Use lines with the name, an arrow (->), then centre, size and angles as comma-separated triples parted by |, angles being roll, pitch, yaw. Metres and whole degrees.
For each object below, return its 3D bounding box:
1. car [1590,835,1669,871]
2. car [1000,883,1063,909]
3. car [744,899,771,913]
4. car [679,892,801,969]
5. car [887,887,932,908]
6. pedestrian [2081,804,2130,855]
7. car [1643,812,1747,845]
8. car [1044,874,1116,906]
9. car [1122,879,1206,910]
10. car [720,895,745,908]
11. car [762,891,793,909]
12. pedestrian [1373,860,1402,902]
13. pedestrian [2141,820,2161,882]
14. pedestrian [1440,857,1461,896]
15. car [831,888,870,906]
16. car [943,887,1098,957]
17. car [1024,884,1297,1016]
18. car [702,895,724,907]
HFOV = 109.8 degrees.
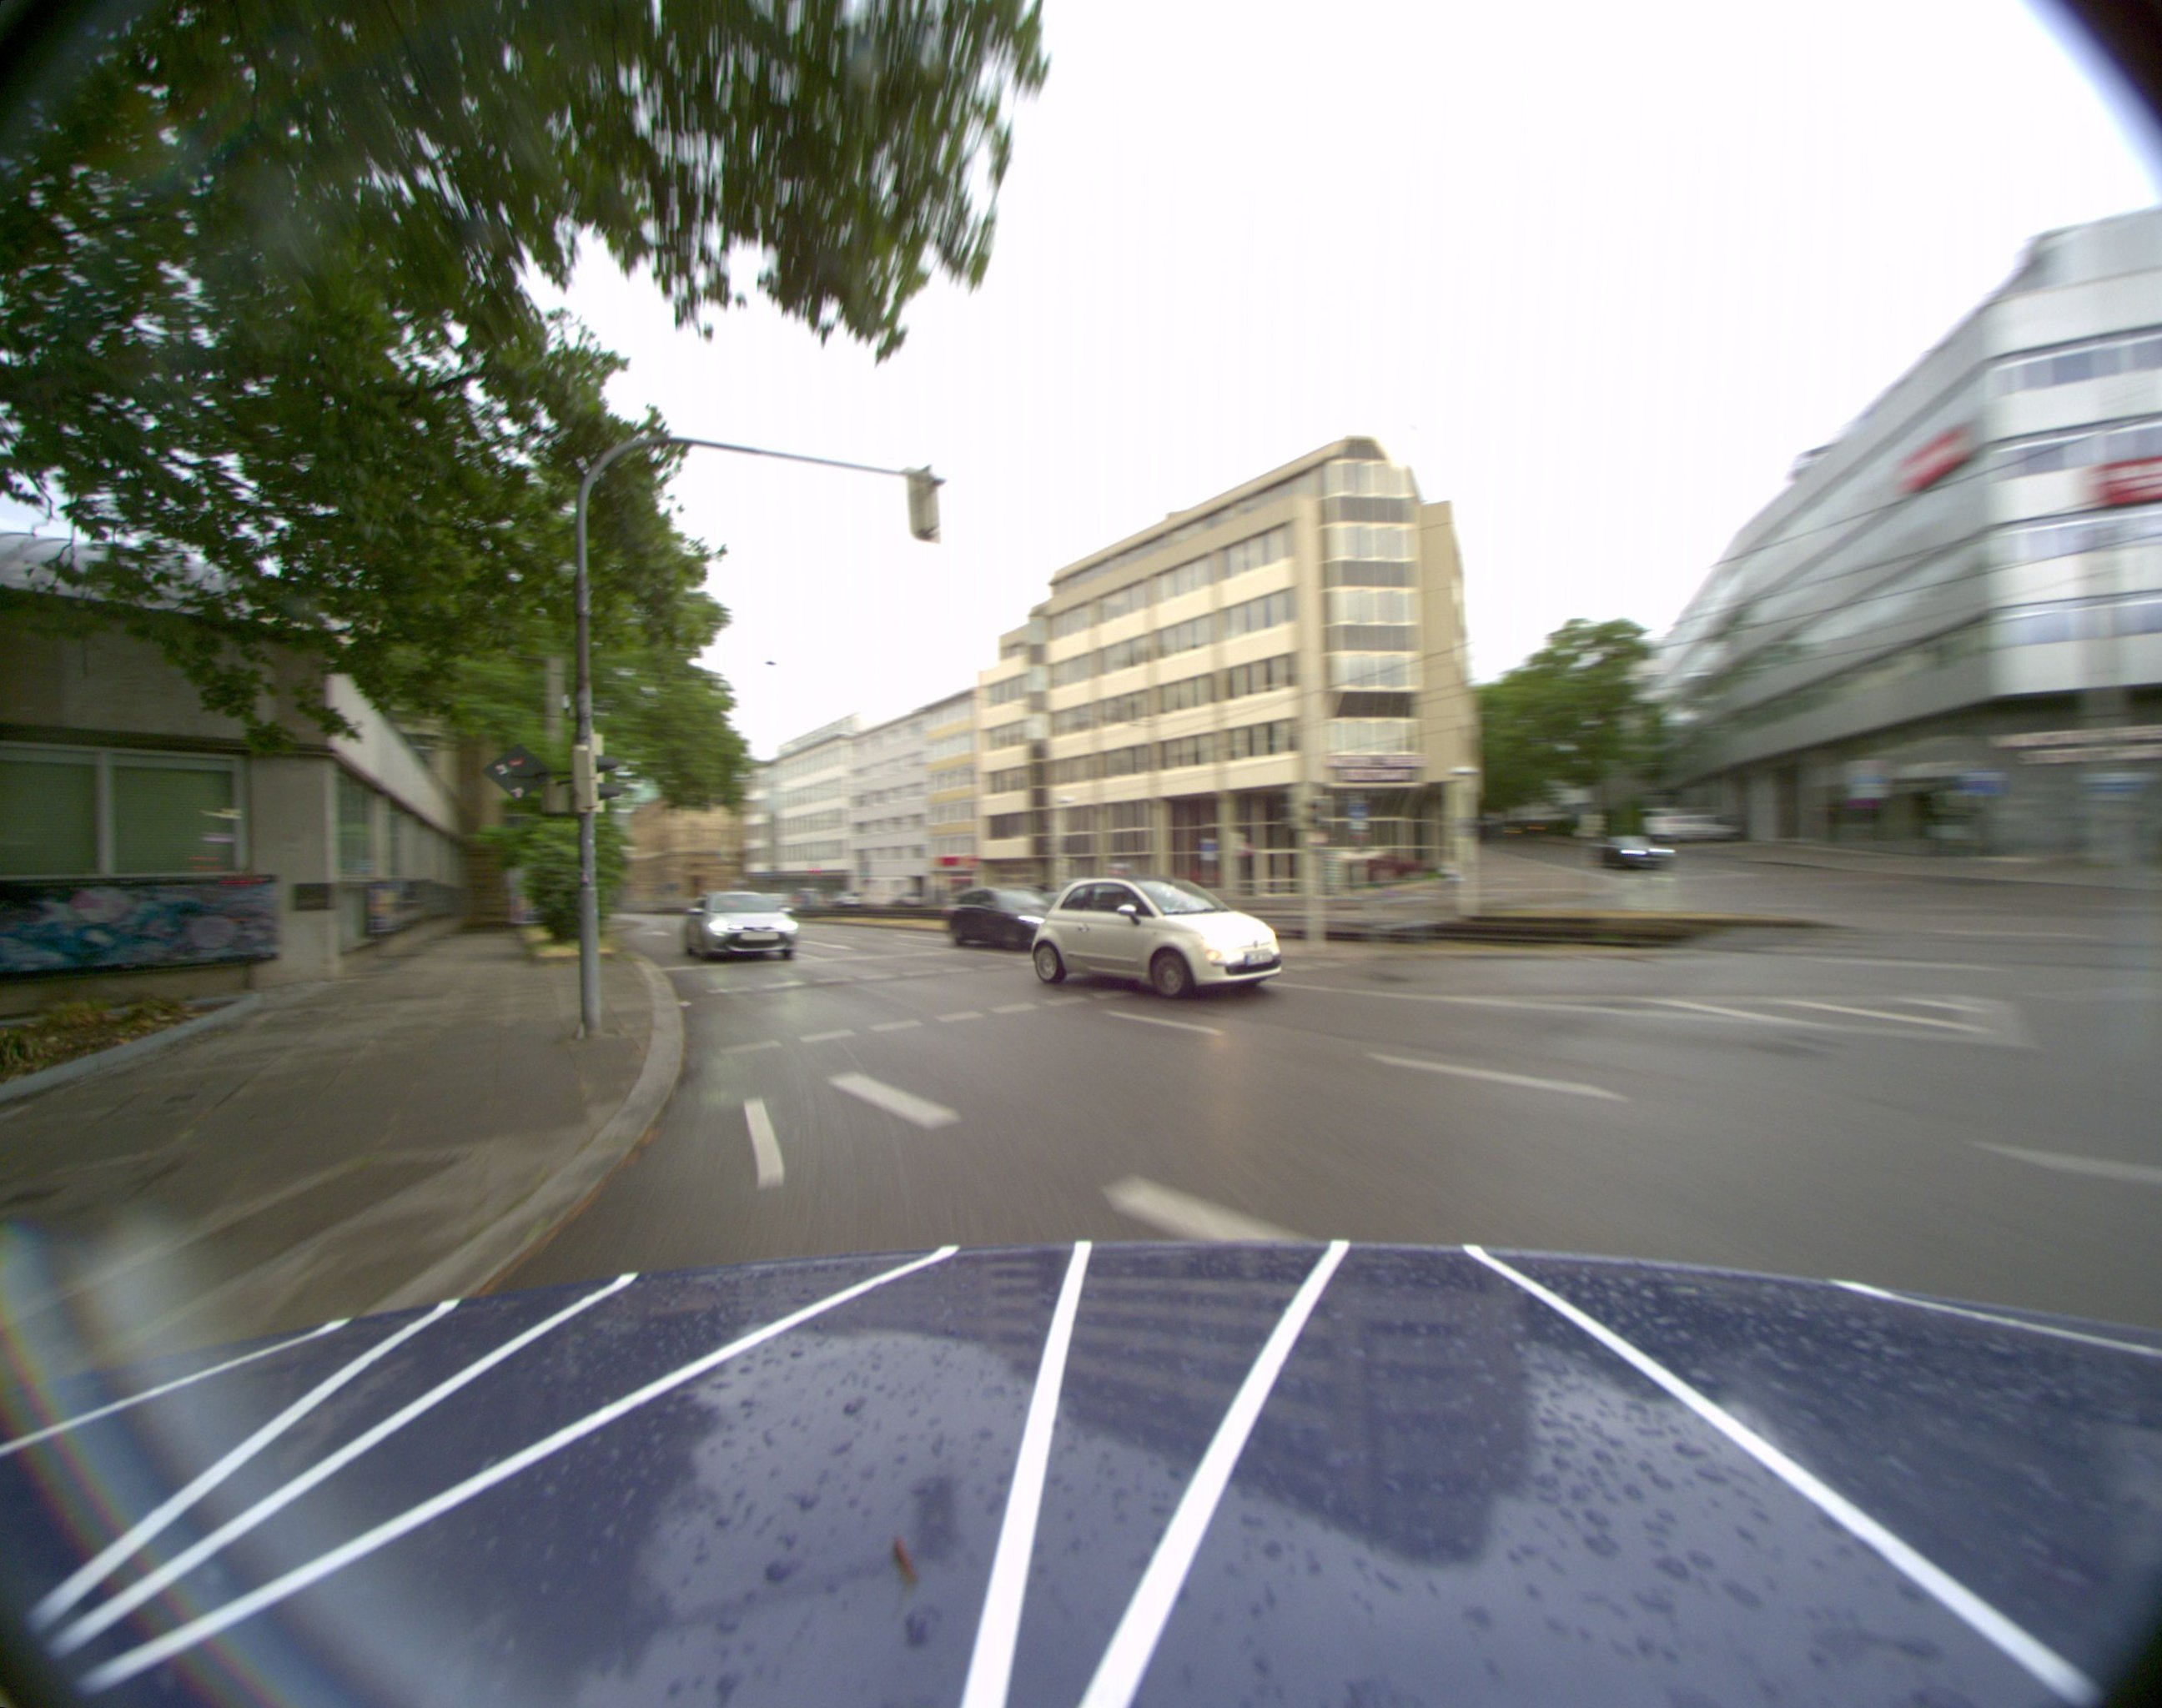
car -> 28.260, -0.084, 39.319 | 1.996, 1.571, 4.892 | -3, 2, 20
car -> -3.172, 2.635, 48.040 | 1.805, 1.504, 4.067 | -2, -1, -40
car -> -35.255, 5.629, 82.749 | 1.636, 1.348, 3.862 | -1, -2, -40
car -> -7.579, 1.576, 16.660 | 1.816, 1.425, 4.288 | 1, -3, -33
car -> -13.889, 3.497, 61.435 | 1.805, 1.504, 4.067 | -2, -1, -40
pedestrian -> 38.510, -0.900, 28.572 | 0.758, 1.849, 0.721 | -5, -1, 26
car -> 43.370, -1.766, 53.859 | 5.400, 2.001, 2.004 | -2, -3, 28
car -> -0.091, 2.091, 44.162 | 1.805, 1.735, 4.206 | -2, -1, -41
car -> 4.161, 2.047, 38.709 | 1.805, 1.468, 4.207 | 1, -3, -39
car -> -47.210, 6.391, 102.978 | 1.894, 1.614, 4.466 | -2, -1, -40
car -> -35.214, 5.261, 88.026 | 1.894, 1.923, 4.466 | -2, -1, -40
pedestrian -> 13.277, 1.156, 32.957 | 0.761, 1.776, 0.830 | -3, 0, -17
pedestrian -> 32.816, -0.102, 22.850 | 0.718, 1.850, 0.850 | -3, 0, 22
pedestrian -> 16.045, 0.969, 33.017 | 0.718, 1.629, 0.761 | -3, 0, 22
car -> -21.337, 4.012, 70.309 | 1.894, 1.504, 4.067 | -2, -1, -40
car -> -1.596, 1.530, 18.156 | 1.805, 1.433, 4.465 | 1, -3, -33
car -> 0.913, 1.144, 10.141 | 1.659, 1.425, 3.431 | 1, -3, -39
car -> -47.648, 6.089, 98.458 | 1.636, 1.348, 3.862 | -1, -2, -40
